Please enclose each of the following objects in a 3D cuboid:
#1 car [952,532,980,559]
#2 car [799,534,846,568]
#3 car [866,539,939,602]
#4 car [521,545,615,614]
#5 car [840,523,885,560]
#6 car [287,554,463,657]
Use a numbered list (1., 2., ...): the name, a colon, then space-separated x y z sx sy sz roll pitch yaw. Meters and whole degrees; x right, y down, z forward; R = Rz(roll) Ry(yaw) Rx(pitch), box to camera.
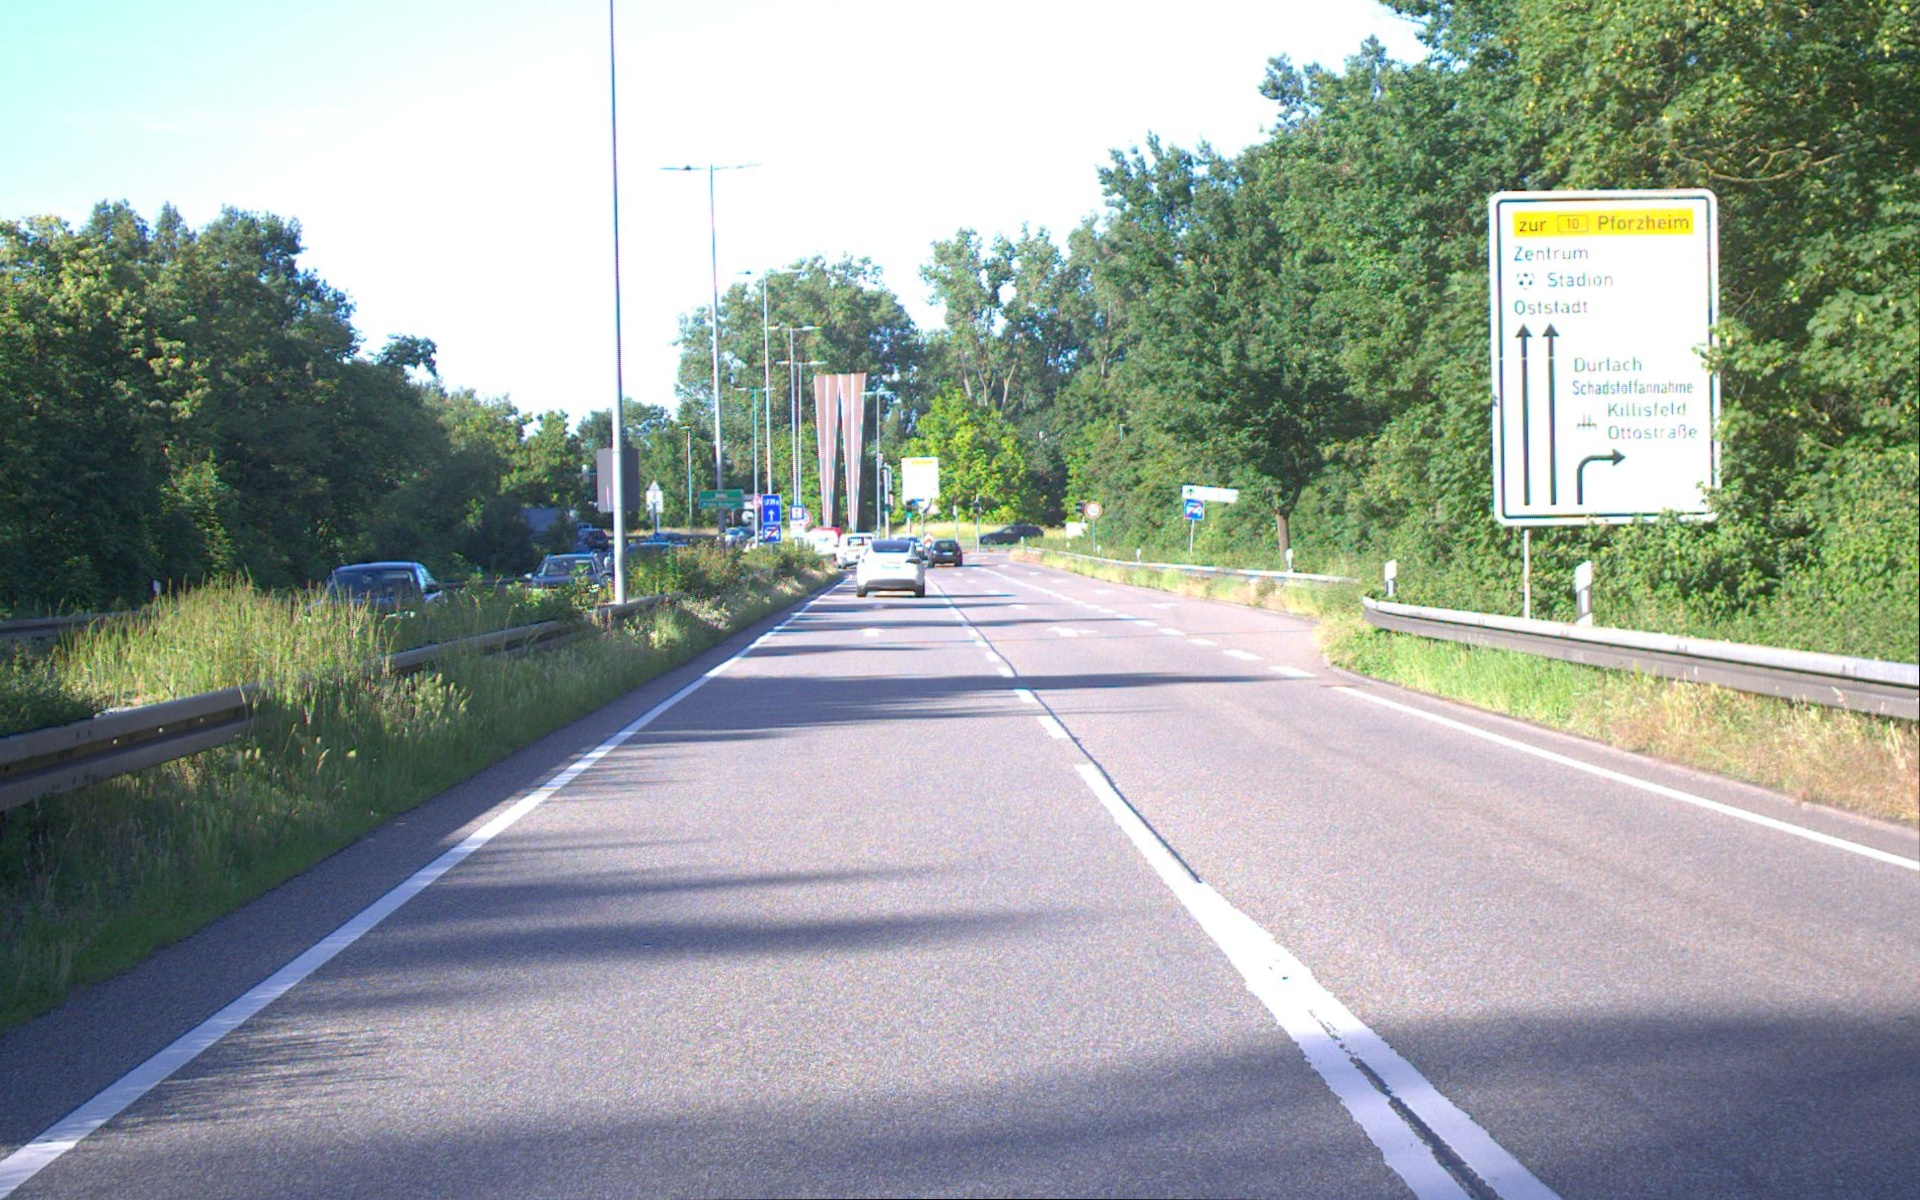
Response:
1. car: 0.300 -2.829 178.701 1.388 1.276 2.987 1 0 -1
2. car: -8.173 -2.903 204.470 1.993 2.007 4.001 1 0 -14
3. car: -1.649 -0.870 97.887 1.993 1.634 4.129 -2 2 -1
4. car: -9.274 -0.504 81.584 1.618 1.525 4.608 -2 1 1
5. car: -5.242 -3.167 184.329 1.993 1.873 4.250 -2 2 -7
6. car: -8.746 0.045 51.699 1.781 1.398 4.553 -2 1 1
